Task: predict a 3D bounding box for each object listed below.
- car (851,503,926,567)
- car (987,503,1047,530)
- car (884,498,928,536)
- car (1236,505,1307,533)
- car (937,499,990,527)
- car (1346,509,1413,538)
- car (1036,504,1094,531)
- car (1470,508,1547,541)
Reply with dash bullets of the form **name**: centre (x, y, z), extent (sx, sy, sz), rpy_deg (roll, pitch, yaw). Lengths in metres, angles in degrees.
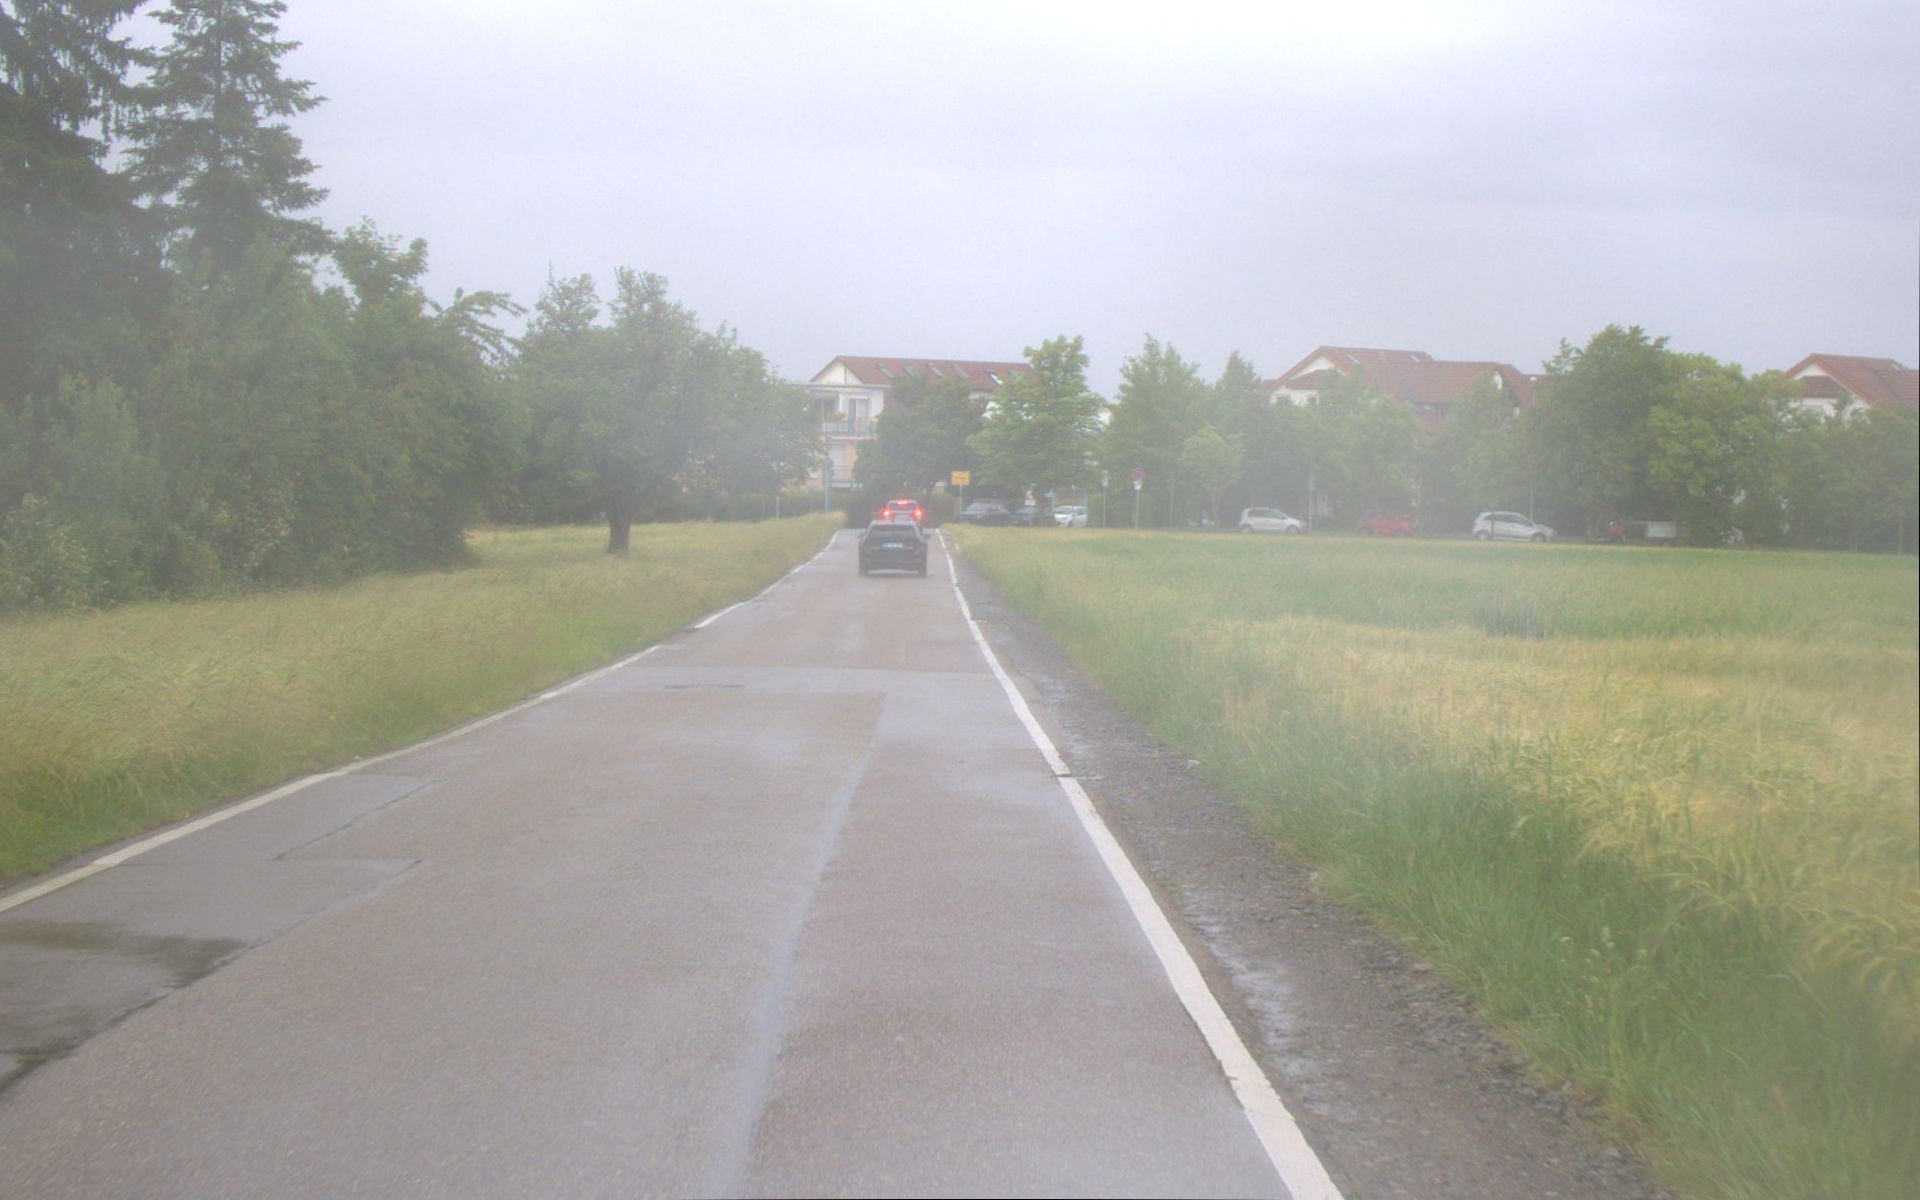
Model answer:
- **car**: centre (-1.827, -1.672, 89.329), extent (1.814, 1.588, 4.000), rpy_deg (1, 0, 0)
- **car**: centre (3.504, -5.098, 209.290), extent (1.664, 1.541, 3.992), rpy_deg (1, 0, 35)
- **car**: centre (-2.394, -3.678, 152.496), extent (1.814, 1.588, 4.000), rpy_deg (1, 0, 0)
- **car**: centre (15.887, -4.142, 175.391), extent (3.392, 1.366, 1.547), rpy_deg (1, 0, 13)
- **car**: centre (0.214, -5.175, 203.730), extent (1.663, 1.541, 3.995), rpy_deg (1, 0, 24)
- **car**: centre (21.254, -3.886, 174.199), extent (3.194, 1.366, 1.571), rpy_deg (1, 0, 13)
- **car**: centre (6.526, -5.129, 213.542), extent (1.664, 1.541, 3.992), rpy_deg (1, 0, 35)
- **car**: centre (27.526, -3.780, 172.594), extent (3.711, 1.558, 1.609), rpy_deg (1, 0, 13)
